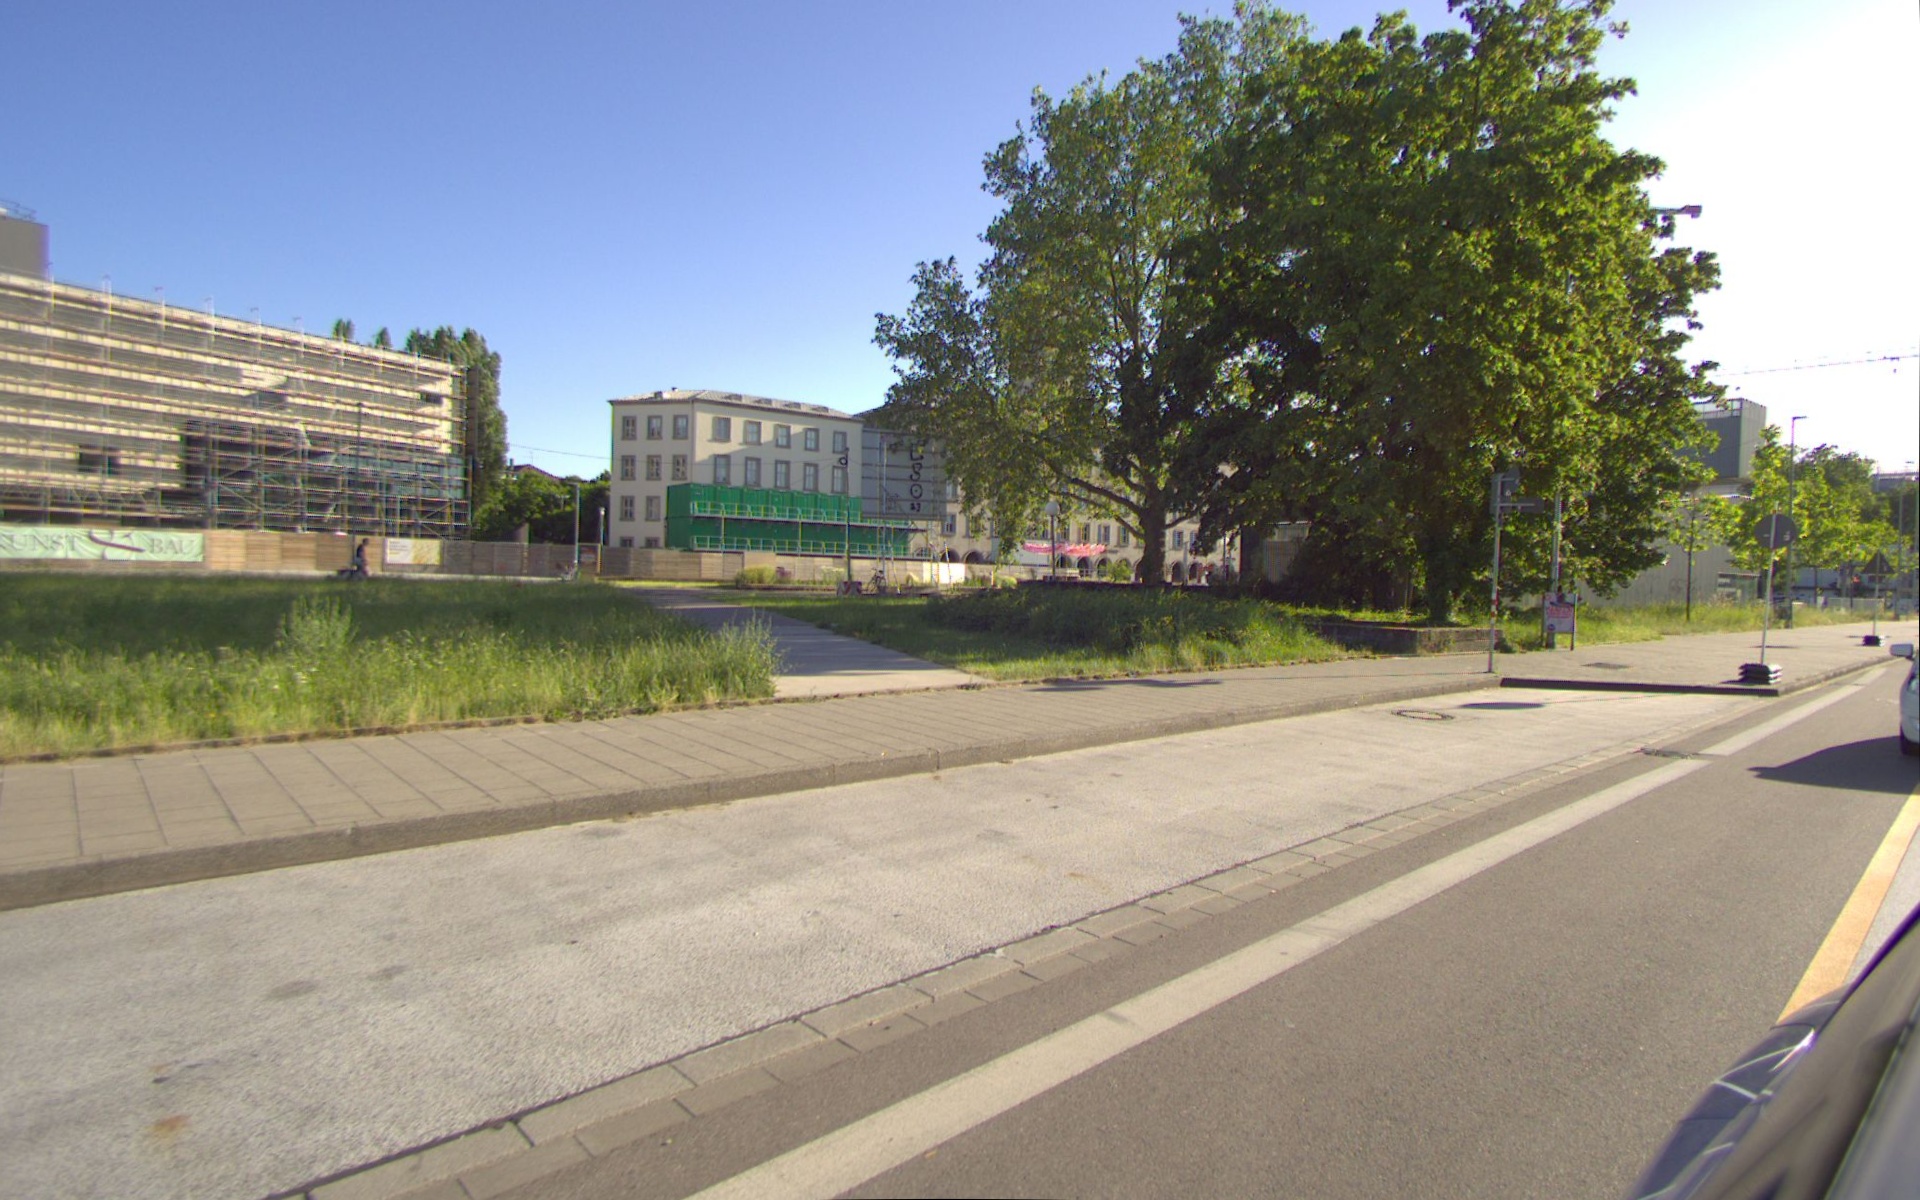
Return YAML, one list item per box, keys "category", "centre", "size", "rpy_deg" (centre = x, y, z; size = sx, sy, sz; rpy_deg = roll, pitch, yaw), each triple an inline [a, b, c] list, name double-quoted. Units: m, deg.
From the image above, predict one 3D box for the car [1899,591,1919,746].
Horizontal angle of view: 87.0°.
- category: "car"
  centre: [11.035, 0.659, 10.471]
  size: [3.336, 1.516, 1.613]
  rpy_deg: [0, -1, -42]

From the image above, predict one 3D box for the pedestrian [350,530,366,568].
- category: "pedestrian"
  centre: [-21.282, -1.791, 35.764]
  size: [0.433, 1.312, 0.573]
  rpy_deg: [-1, 0, -34]
